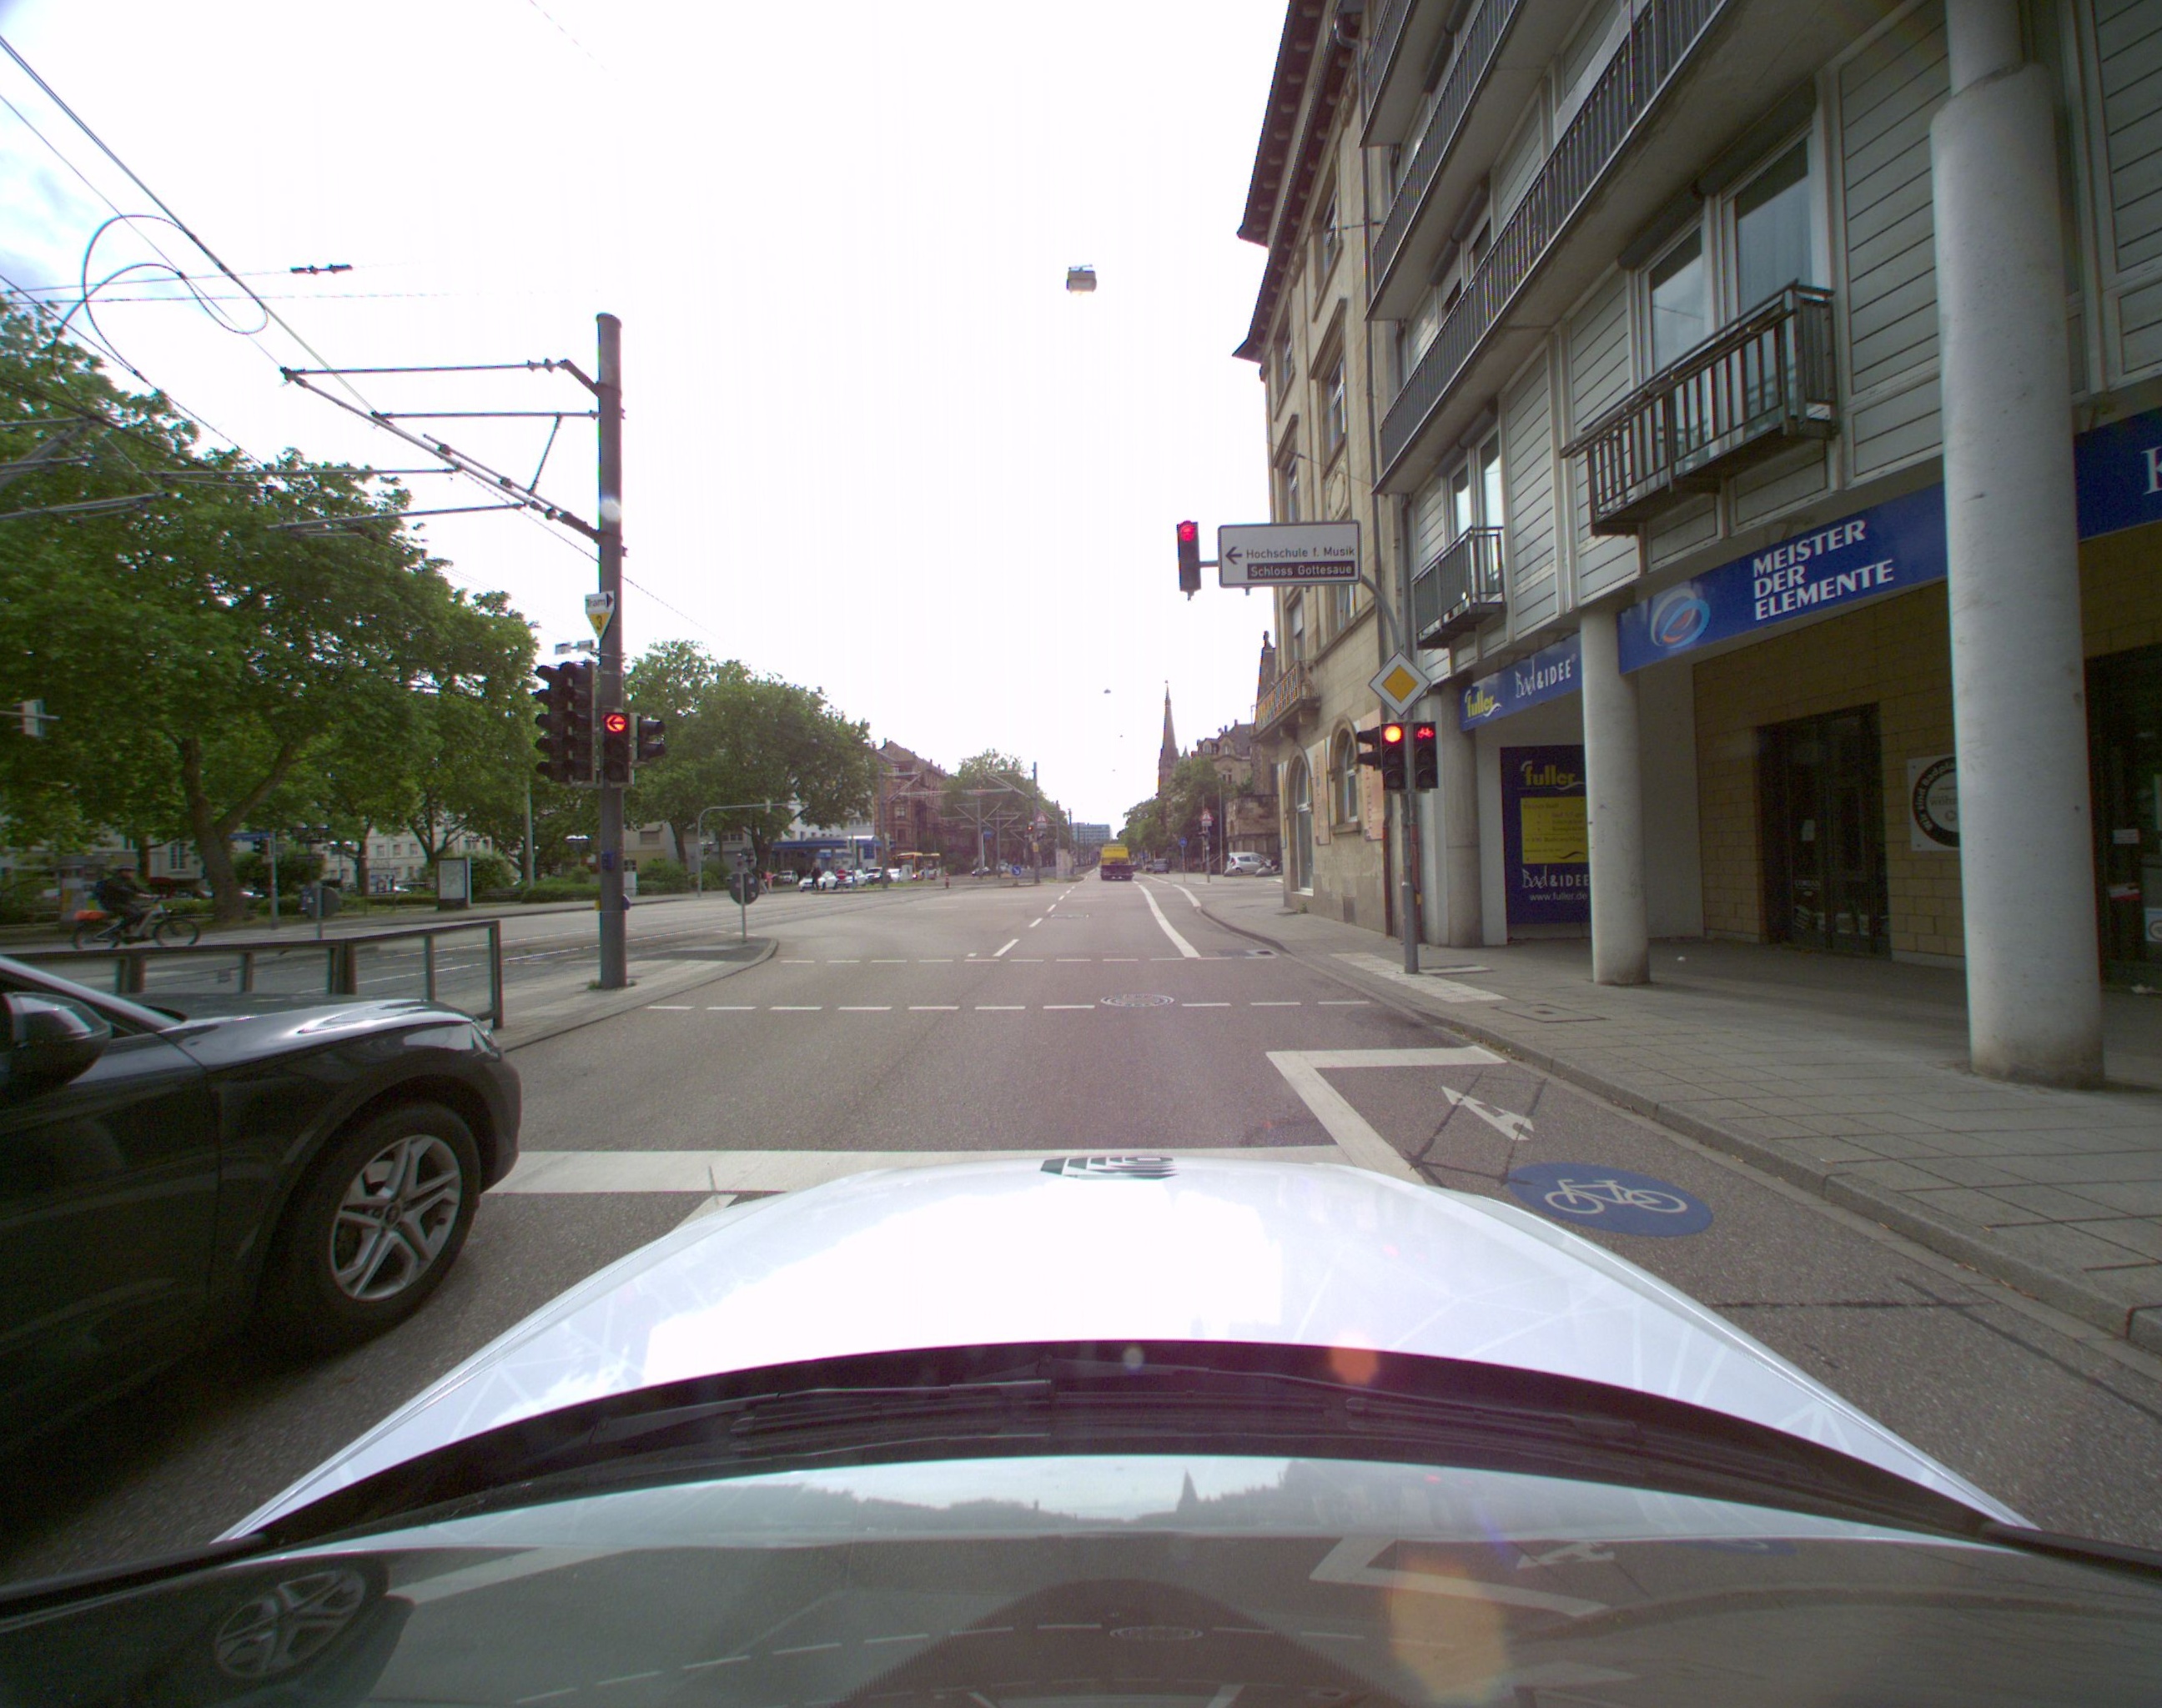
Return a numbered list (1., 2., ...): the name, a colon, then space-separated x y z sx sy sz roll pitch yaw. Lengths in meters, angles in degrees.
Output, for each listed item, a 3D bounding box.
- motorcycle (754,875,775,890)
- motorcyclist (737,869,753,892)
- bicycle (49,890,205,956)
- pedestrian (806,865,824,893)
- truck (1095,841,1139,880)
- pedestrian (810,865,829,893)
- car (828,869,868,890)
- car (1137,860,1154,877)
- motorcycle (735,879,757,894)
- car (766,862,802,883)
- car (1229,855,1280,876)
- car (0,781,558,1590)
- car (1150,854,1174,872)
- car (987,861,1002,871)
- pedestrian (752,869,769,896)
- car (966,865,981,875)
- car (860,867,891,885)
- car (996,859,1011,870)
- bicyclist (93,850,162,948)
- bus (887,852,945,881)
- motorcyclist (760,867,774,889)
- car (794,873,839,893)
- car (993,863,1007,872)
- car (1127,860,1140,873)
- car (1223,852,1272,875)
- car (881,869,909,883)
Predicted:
1. motorcycle: -21.641 1.962 55.709 0.604 0.928 1.953 -2 -1 2
2. motorcyclist: -22.684 1.812 54.984 0.617 1.520 0.874 -1 -1 2
3. bicycle: -20.176 1.436 17.287 2.002 1.272 0.744 0 -1 -28
4. pedestrian: -16.855 1.599 51.564 0.863 1.713 0.692 -2 -1 5
5. truck: 2.692 0.513 63.949 3.045 2.769 9.815 -2 0 1
6. pedestrian: -16.781 1.594 52.248 0.867 1.713 0.876 -2 -1 4
7. car: -18.840 2.062 66.070 1.986 1.594 4.001 0 -1 2
8. car: 7.901 1.712 99.663 1.985 2.014 4.004 0 -1 4
9. motorcycle: -22.669 2.183 55.153 0.604 0.928 1.953 -2 -1 2
10. car: -29.763 1.811 81.772 1.986 2.014 4.001 -2 0 2
11. car: 13.752 0.916 64.736 3.699 1.563 2.001 0 -1 2
12. car: -3.069 0.672 1.223 1.727 1.637 4.228 0 -1 2
13. car: 8.979 1.000 89.944 1.979 1.855 4.042 -1 -1 14
14. car: -15.044 2.079 142.085 1.986 1.610 4.001 0 -1 2
15. pedestrian: -19.864 1.768 50.505 0.680 1.690 0.743 0 -1 6
16. car: -16.011 2.368 121.363 1.649 1.321 3.641 0 -1 3
17. car: -18.326 1.936 72.714 1.649 1.478 3.641 0 -1 3
18. car: -13.510 1.824 142.140 1.986 2.014 4.001 0 -1 2
19. bicyclist: -20.241 0.931 17.307 0.696 2.014 0.776 0 -1 -27
20. bus: -18.221 1.317 90.852 3.217 3.035 12.323 0 0 4
21. motorcyclist: -21.600 1.658 56.044 0.617 1.520 0.874 -1 -1 2
22. car: -19.218 2.115 59.330 1.739 1.321 4.079 0 -1 4
23. car: -14.893 2.529 149.911 1.986 1.610 4.001 0 -1 2
24. car: 8.700 2.073 136.079 1.986 2.014 4.001 0 -1 2
25. car: 13.931 0.800 68.230 3.699 1.855 2.001 0 -1 2
26. car: -18.154 2.108 79.635 1.649 1.321 3.641 0 -1 3
